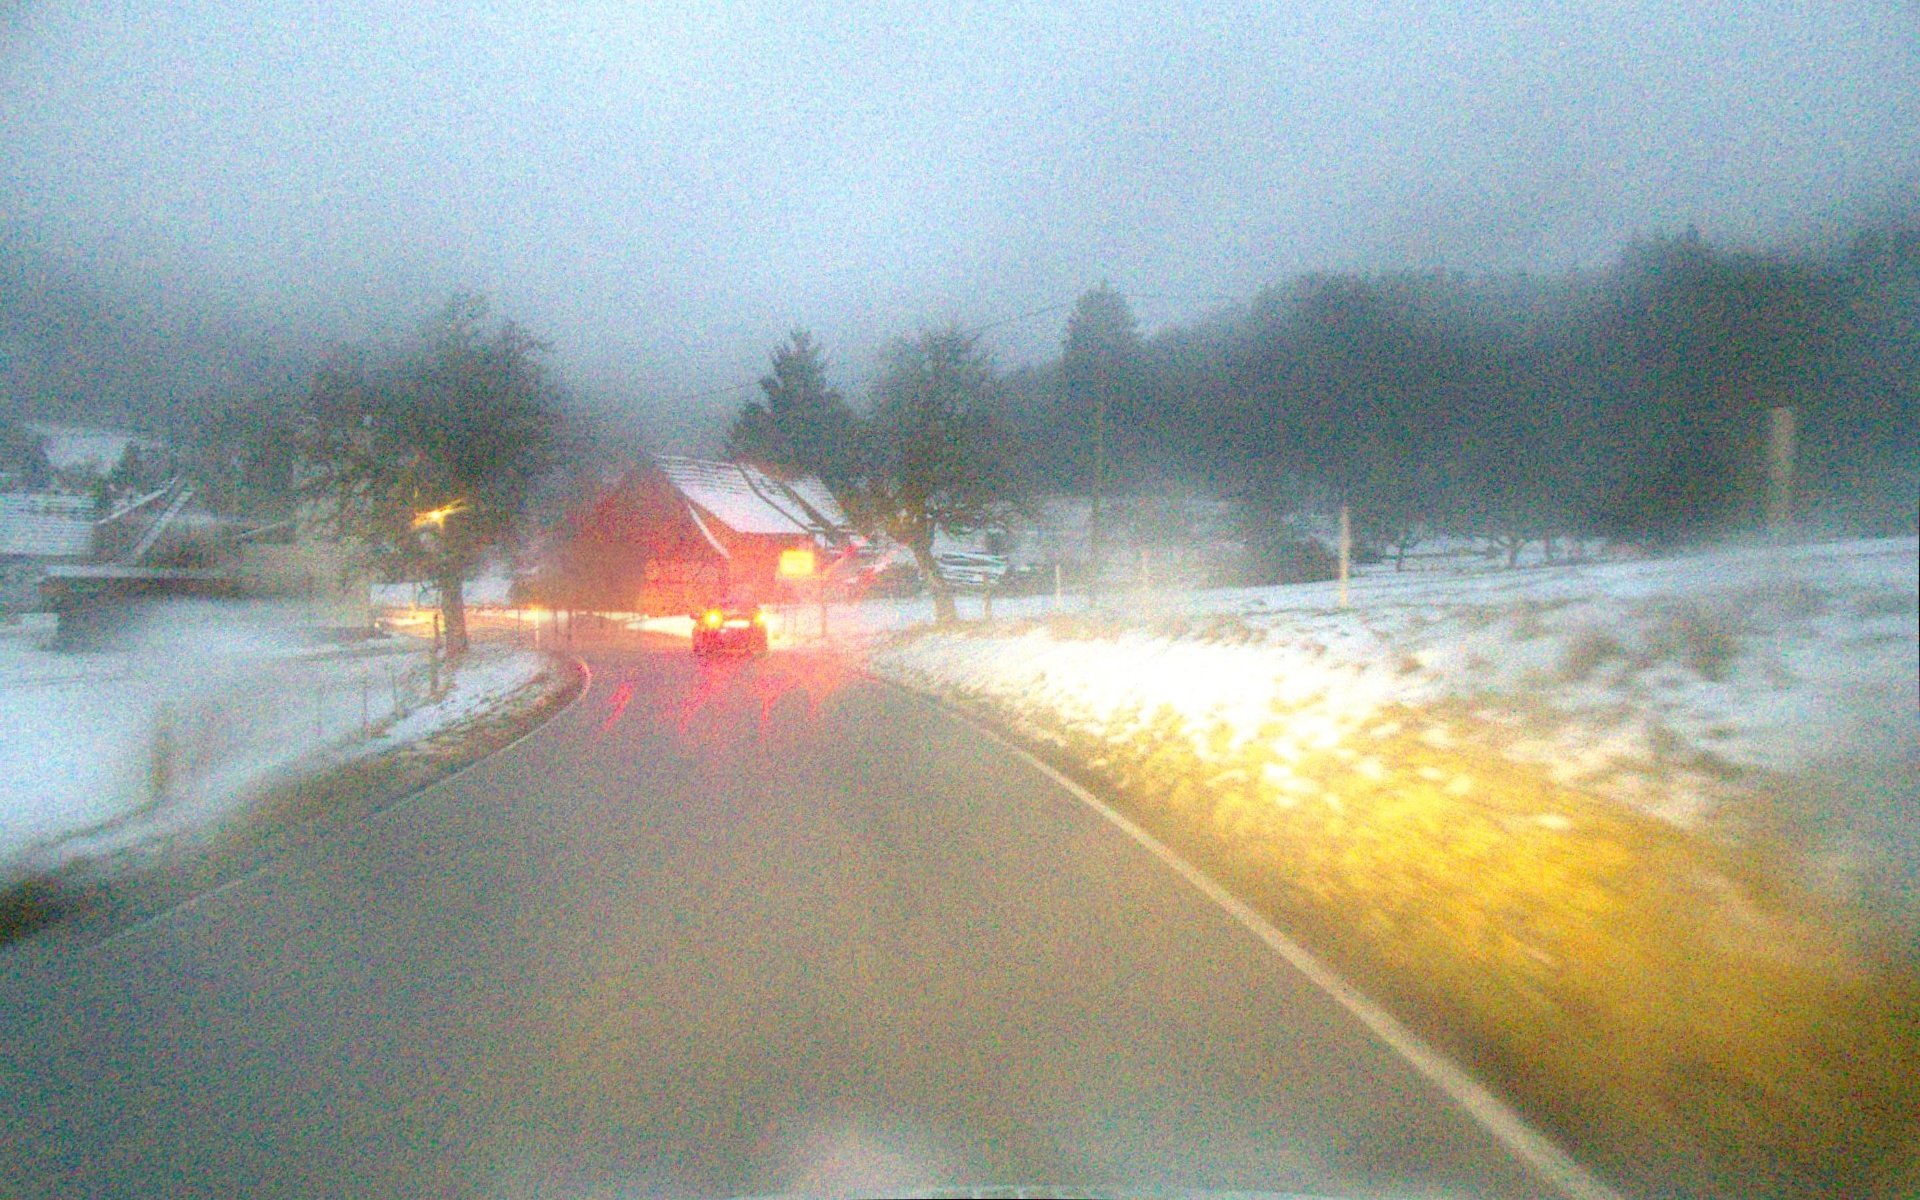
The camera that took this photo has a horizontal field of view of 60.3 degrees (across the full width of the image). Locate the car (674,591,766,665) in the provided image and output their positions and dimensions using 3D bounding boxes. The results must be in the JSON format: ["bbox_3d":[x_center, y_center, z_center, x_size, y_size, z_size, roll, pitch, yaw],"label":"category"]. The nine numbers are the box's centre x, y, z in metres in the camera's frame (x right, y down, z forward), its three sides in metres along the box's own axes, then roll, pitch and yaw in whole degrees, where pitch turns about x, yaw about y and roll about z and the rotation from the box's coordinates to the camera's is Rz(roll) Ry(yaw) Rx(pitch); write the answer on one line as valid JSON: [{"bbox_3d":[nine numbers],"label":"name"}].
[{"bbox_3d":[-6.649,0.757,45.426,2.234,1.873,4.992,-1,0,-11],"label":"car"}]

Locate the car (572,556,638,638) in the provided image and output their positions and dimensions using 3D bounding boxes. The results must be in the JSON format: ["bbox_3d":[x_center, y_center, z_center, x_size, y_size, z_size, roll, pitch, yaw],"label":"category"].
[{"bbox_3d":[-14.058,-0.087,65.295,2.394,3.071,5.305,0,-1,-14],"label":"car"}]
